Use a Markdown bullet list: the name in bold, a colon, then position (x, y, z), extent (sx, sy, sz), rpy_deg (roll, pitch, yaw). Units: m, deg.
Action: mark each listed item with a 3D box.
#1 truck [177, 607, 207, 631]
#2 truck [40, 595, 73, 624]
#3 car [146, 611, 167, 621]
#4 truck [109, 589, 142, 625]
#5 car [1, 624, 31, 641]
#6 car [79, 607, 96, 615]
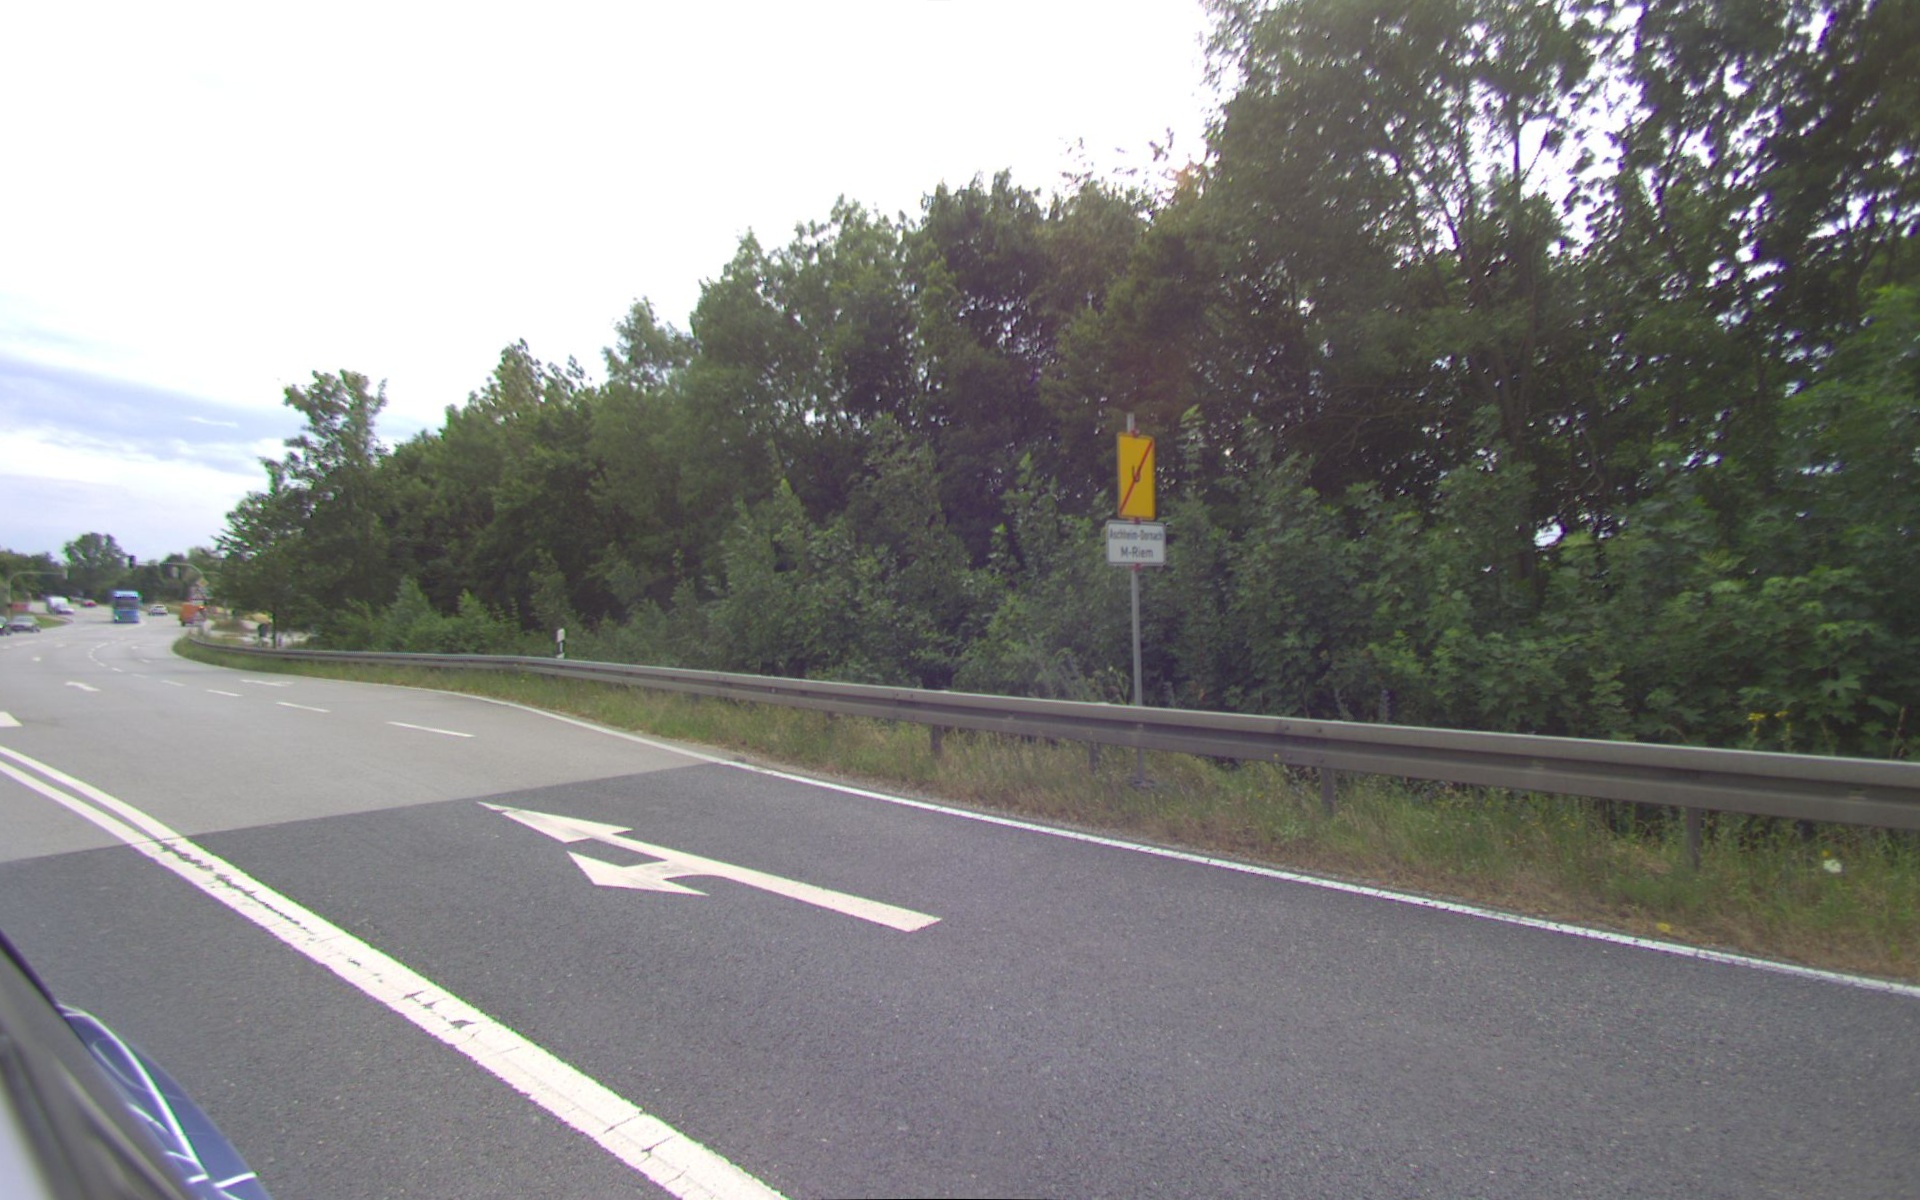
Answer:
- **truck**: position (-88.745, 2.234, 116.901), extent (2.287, 2.621, 6.033), rpy_deg (4, -4, -40)
- **truck**: position (-143.625, 1.563, 160.858), extent (9.574, 4.383, 2.985), rpy_deg (0, -3, 44)
- **car**: position (-129.310, 2.607, 162.820), extent (3.999, 1.582, 1.895), rpy_deg (0, -3, 42)
- **truck**: position (-107.320, 0.944, 130.184), extent (2.981, 4.383, 9.588), rpy_deg (4, -3, -39)
- **car**: position (-82.630, 2.842, 88.643), extent (1.718, 1.335, 4.005), rpy_deg (6, -5, -41)
- **car**: position (-166.306, 2.125, 192.898), extent (4.194, 1.497, 1.723), rpy_deg (0, -2, 38)
